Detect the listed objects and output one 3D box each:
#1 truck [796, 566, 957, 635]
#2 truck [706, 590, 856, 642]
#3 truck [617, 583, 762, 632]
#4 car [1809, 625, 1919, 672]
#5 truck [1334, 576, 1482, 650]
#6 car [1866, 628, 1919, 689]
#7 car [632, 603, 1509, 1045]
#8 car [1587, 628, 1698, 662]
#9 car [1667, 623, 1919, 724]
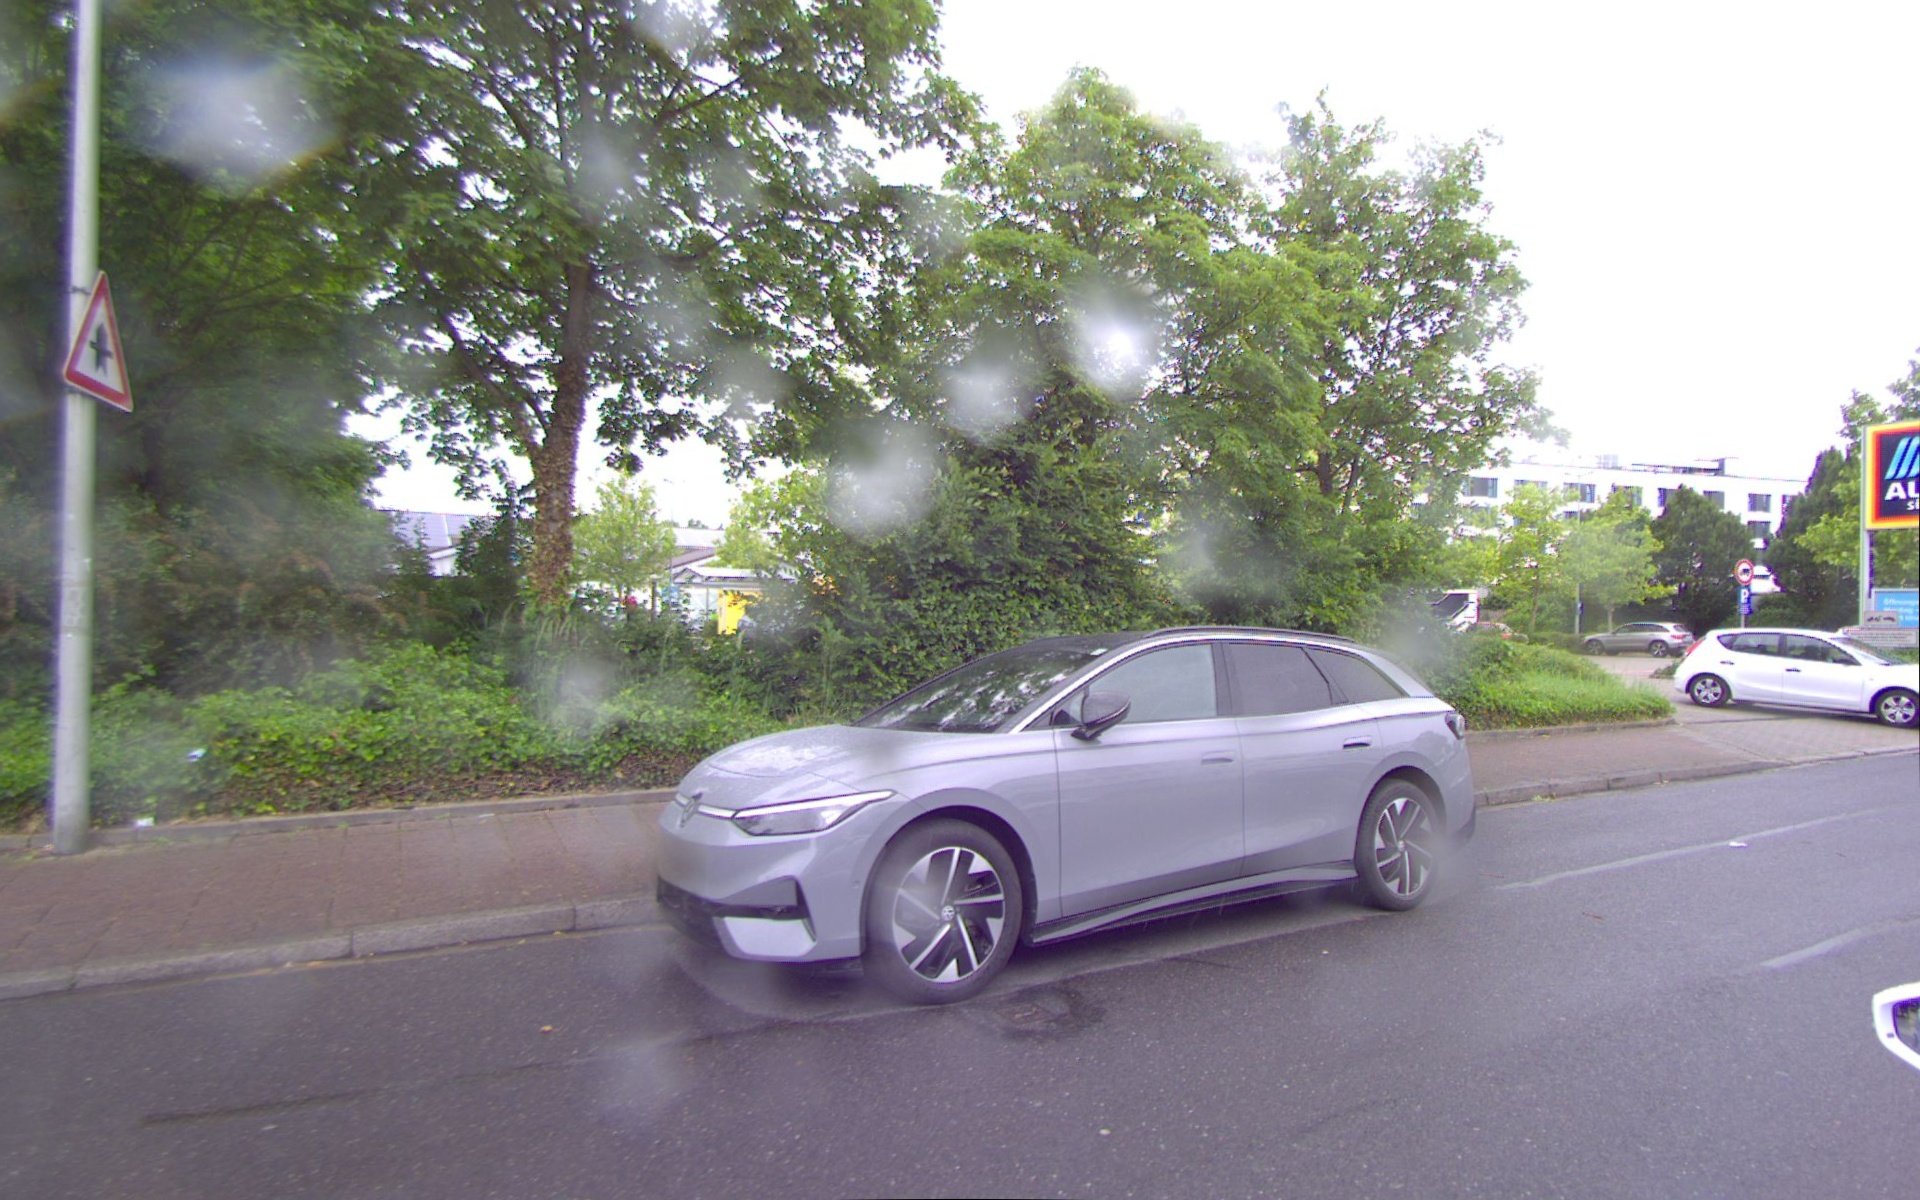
[{"bbox_3d":[-3.348,0.065,41.067,6.318,2.636,1.985,1,-1,-29],"label":"truck"},{"bbox_3d":[-7.654,0.708,43.219,6.068,2.122,1.982,1,-1,-33],"label":"truck"},{"bbox_3d":[-12.269,0.391,45.830,6.068,2.087,1.982,1,-1,-33],"label":"truck"},{"bbox_3d":[33.836,1.754,36.659,1.887,1.561,3.970,1,-1,-29],"label":"car"},{"bbox_3d":[17.360,0.547,38.775,6.324,2.692,1.983,1,-1,-31],"label":"truck"},{"bbox_3d":[24.883,1.513,24.661,1.691,1.479,3.555,1,1,-28],"label":"car"},{"bbox_3d":[0.795,0.907,5.559,4.694,1.548,1.800,2,-5,-31],"label":"car"},{"bbox_3d":[32.664,2.128,48.186,1.975,1.519,3.971,1,-1,-28],"label":"car"},{"bbox_3d":[15.023,1.206,17.441,1.694,1.479,4.166,1,0,-32],"label":"car"}]
